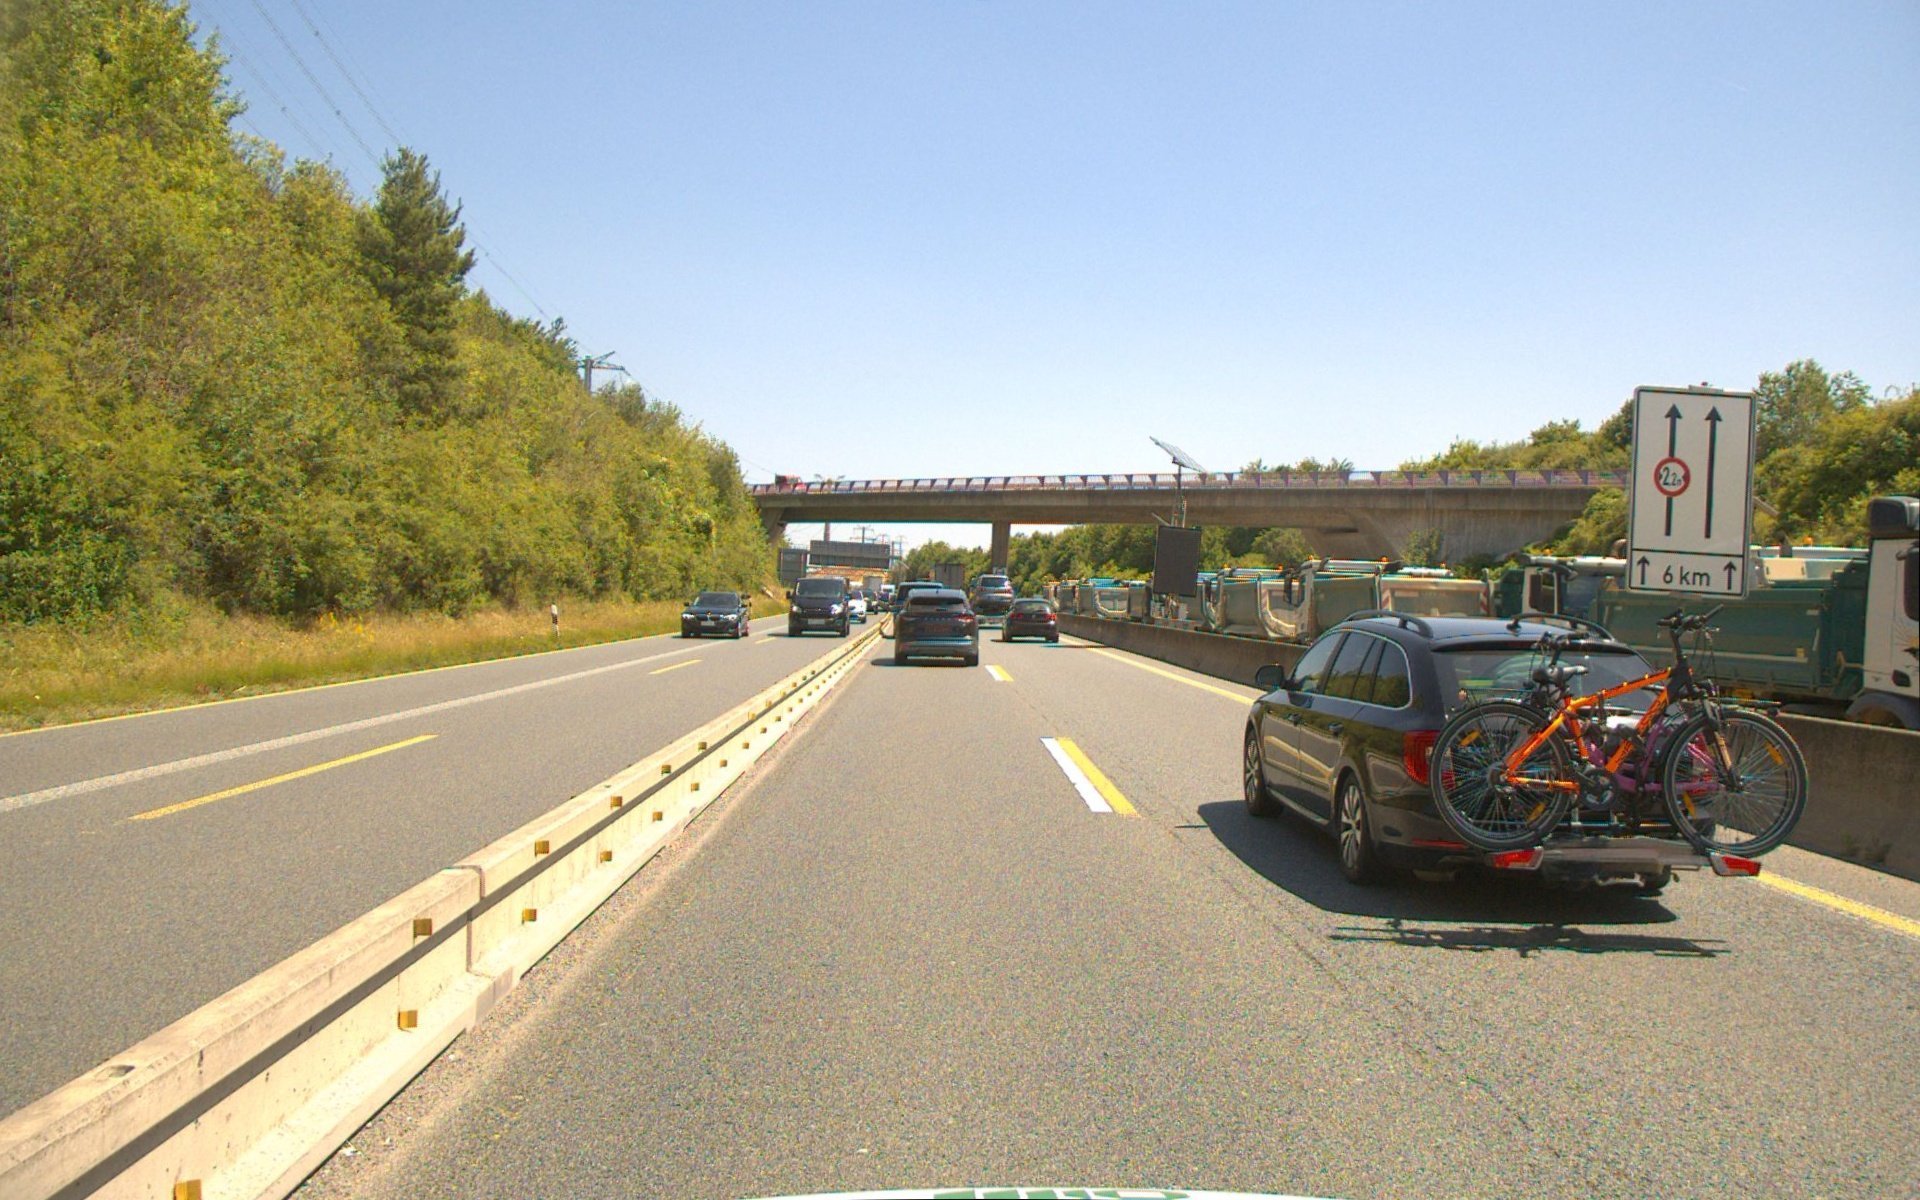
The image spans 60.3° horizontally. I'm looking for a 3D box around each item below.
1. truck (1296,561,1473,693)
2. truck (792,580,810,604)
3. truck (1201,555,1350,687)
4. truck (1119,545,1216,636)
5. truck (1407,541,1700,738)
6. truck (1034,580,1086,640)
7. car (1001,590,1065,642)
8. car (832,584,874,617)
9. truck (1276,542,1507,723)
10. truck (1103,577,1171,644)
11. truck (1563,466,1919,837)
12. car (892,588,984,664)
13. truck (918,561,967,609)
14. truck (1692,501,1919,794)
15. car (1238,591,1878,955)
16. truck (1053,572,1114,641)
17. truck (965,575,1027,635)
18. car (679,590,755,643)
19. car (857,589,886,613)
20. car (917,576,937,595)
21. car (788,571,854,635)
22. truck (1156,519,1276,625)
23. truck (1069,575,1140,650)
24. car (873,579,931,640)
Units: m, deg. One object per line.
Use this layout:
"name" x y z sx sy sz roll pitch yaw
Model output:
"truck" 12.271 0.690 48.785 2.632 3.437 9.601 1 0 0
"truck" -22.910 -1.190 238.267 2.460 3.242 10.096 1 0 -6
"truck" 9.470 0.569 50.800 2.632 3.619 9.405 1 0 -1
"truck" 8.885 -0.404 71.749 2.633 3.619 9.321 1 0 -2
"truck" 12.442 0.722 35.832 2.633 3.619 9.600 1 0 -1
"truck" 6.820 0.641 113.750 2.633 3.910 9.322 1 0 -2
"car" 2.390 0.510 55.189 1.860 1.613 4.275 2 0 -1
"car" -5.270 0.004 82.061 1.806 1.560 4.670 2 0 -1
"truck" 9.708 0.636 38.499 2.633 3.619 9.600 1 0 -1
"truck" 10.533 0.572 99.219 2.633 3.792 9.321 1 0 -2
"truck" 10.508 0.508 20.251 2.487 3.619 9.600 1 0 -1
"car" -0.465 0.541 36.339 1.860 1.531 4.275 2 0 -1
"truck" -1.625 -1.289 144.391 3.229 3.912 10.096 1 0 -6
"truck" 13.177 0.614 21.748 2.633 3.619 9.600 1 0 -1
"car" 2.997 0.756 9.595 1.860 1.516 4.946 2 0 -1
"truck" 7.474 0.363 101.175 2.633 3.923 9.322 1 0 -2
"truck" 1.584 0.171 76.827 2.357 2.603 7.497 2 1 -2
"car" -7.625 0.476 52.274 1.757 1.552 4.530 2 0 -1
"car" -6.228 0.050 116.347 1.806 1.560 4.670 3 0 -1
"car" -3.622 -1.533 179.673 1.862 2.003 4.271 2 0 -5
"car" -4.717 0.096 56.749 1.852 2.049 4.817 2 0 -1
"truck" 9.457 -0.984 62.141 2.633 3.619 9.321 1 0 -2
"truck" 7.727 0.618 89.537 2.633 3.826 9.322 1 0 -2
"car" -1.962 0.318 57.147 1.860 2.003 4.275 2 0 -1
